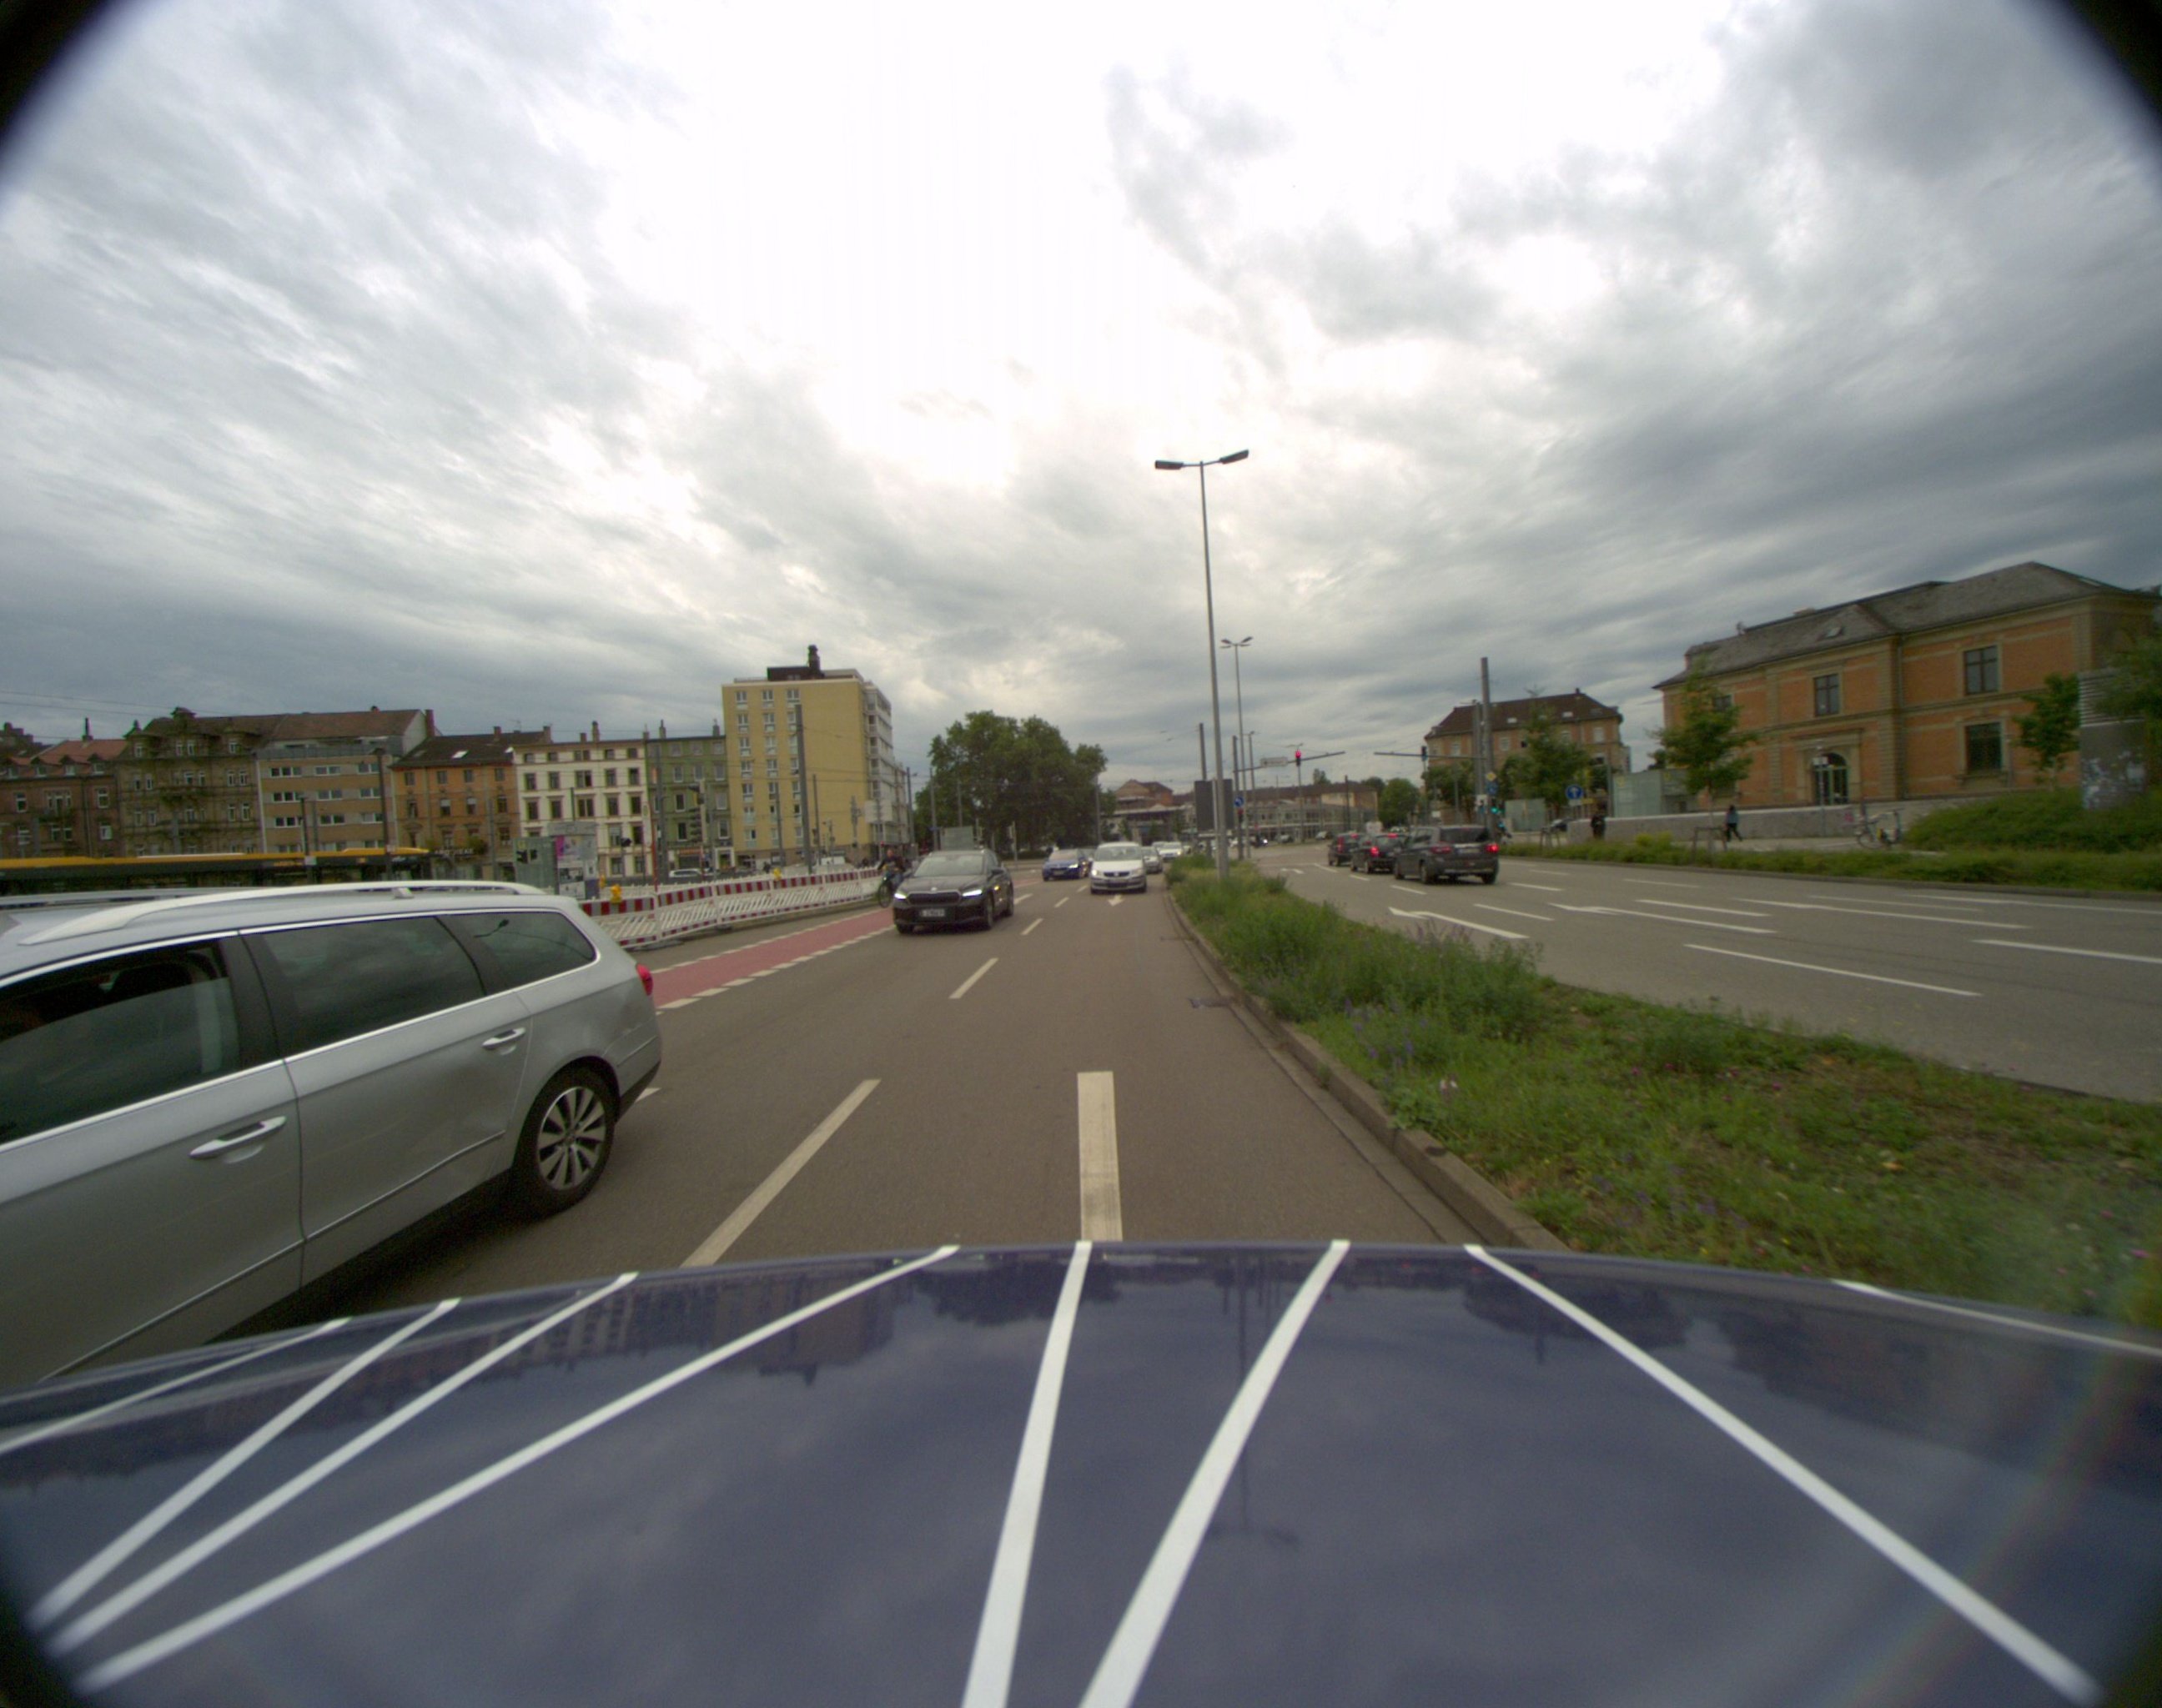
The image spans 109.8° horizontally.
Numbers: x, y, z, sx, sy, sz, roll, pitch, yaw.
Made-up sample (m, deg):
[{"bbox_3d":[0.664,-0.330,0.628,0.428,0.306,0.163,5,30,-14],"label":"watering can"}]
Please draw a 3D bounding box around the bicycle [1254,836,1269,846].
[{"bbox_3d":[21.491,-1.581,90.366,1.614,1.064,0.527,-3,1,-12],"label":"bicycle"}]

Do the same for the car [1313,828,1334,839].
[{"bbox_3d":[44.050,-3.717,137.865,2.368,1.745,5.138,-3,1,31],"label":"car"}]

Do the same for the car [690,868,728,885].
[{"bbox_3d":[-38.850,2.307,79.325,3.728,1.578,1.739,-2,1,32],"label":"car"}]

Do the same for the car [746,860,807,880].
[{"bbox_3d":[-26.925,1.393,67.292,4.443,1.477,1.999,-3,1,-2],"label":"car"}]

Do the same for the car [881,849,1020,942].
[{"bbox_3d":[-2.624,0.764,16.441,1.908,1.649,4.515,-2,1,3],"label":"car"}]

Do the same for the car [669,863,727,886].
[{"bbox_3d":[-34.001,1.819,67.566,3.998,1.740,1.999,-3,1,-2],"label":"car"}]

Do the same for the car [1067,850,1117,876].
[{"bbox_3d":[0.744,0.536,46.228,1.767,1.362,4.427,-2,1,18],"label":"car"}]

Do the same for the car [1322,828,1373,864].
[{"bbox_3d":[12.392,-0.397,35.488,1.621,1.507,3.667,-2,1,10],"label":"car"}]

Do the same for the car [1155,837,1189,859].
[{"bbox_3d":[6.773,-0.477,56.126,1.971,1.447,4.196,-3,1,13],"label":"car"}]

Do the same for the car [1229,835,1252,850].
[{"bbox_3d":[22.245,-1.619,105.663,1.995,2.002,4.006,-3,1,28],"label":"car"}]

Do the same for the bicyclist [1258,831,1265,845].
[{"bbox_3d":[21.452,-1.937,90.334,0.655,1.630,0.517,-3,2,-11],"label":"bicyclist"}]

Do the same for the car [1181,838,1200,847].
[{"bbox_3d":[19.707,-2.099,137.228,1.792,1.552,4.028,-4,1,-16],"label":"car"}]

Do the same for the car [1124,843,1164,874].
[{"bbox_3d":[3.335,0.195,39.798,1.809,1.398,3.984,-3,1,8],"label":"car"}]

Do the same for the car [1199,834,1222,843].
[{"bbox_3d":[23.522,-2.758,137.847,3.899,1.433,1.735,-3,1,18],"label":"car"}]

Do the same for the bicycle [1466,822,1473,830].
[{"bbox_3d":[55.123,-3.988,107.697,0.835,1.024,2.400,-3,1,27],"label":"bicycle"}]

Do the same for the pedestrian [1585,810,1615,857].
[{"bbox_3d":[22.411,-0.880,32.832,0.820,1.969,0.659,-2,1,14],"label":"pedestrian"}]

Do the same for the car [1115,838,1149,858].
[{"bbox_3d":[4.306,-0.532,63.477,1.996,1.499,4.003,-3,1,15],"label":"car"}]

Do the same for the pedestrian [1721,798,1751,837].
[{"bbox_3d":[29.392,-1.633,34.119,0.748,1.724,0.686,-2,1,13],"label":"pedestrian"}]

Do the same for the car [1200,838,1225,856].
[{"bbox_3d":[16.447,-0.867,94.665,1.995,2.002,4.006,-3,1,25],"label":"car"}]

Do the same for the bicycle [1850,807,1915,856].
[{"bbox_3d":[24.862,-0.708,23.623,0.847,1.440,2.258,-2,1,33],"label":"bicycle"}]

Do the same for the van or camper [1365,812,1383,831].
[{"bbox_3d":[40.810,-4.530,105.881,2.281,2.513,5.580,-2,1,21],"label":"van or camper"}]

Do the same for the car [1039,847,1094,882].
[{"bbox_3d":[-0.613,0.453,37.033,1.768,1.428,4.759,-3,1,10],"label":"car"}]

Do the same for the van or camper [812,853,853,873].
[{"bbox_3d":[-26.891,0.950,82.025,2.176,1.967,5.452,-4,1,-41],"label":"van or camper"}]

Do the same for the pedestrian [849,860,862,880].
[{"bbox_3d":[-18.840,1.333,63.416,0.769,1.602,0.949,-4,2,-27],"label":"pedestrian"}]

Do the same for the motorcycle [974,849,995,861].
[{"bbox_3d":[-11.534,0.083,90.955,2.293,1.358,1.045,-3,1,-13],"label":"motorcycle"}]

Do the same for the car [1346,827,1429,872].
[{"bbox_3d":[11.126,-0.180,27.893,1.874,1.499,4.481,-1,1,9],"label":"car"}]

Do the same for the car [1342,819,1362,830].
[{"bbox_3d":[55.849,-6.109,156.746,2.368,2.121,5.138,-2,1,37],"label":"car"}]

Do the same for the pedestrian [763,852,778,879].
[{"bbox_3d":[-22.906,0.835,56.030,0.785,1.901,0.902,-4,2,-27],"label":"pedestrian"}]

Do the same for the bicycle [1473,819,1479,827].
[{"bbox_3d":[55.826,-4.357,107.337,0.753,1.024,2.400,-3,1,27],"label":"bicycle"}]

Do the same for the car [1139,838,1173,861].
[{"bbox_3d":[7.358,-0.471,73.940,1.995,2.002,4.006,-3,1,25],"label":"car"}]

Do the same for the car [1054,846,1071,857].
[{"bbox_3d":[-3.394,-0.413,142.233,1.954,1.459,4.230,-3,6,16],"label":"car"}]

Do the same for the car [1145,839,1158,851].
[{"bbox_3d":[12.847,-1.590,137.771,1.954,1.635,4.673,-3,5,10],"label":"car"}]

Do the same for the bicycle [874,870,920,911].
[{"bbox_3d":[-5.428,1.049,22.573,0.626,1.049,2.126,-3,1,5],"label":"bicycle"}]

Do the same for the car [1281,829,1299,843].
[{"bbox_3d":[34.003,-2.919,123.545,1.995,2.002,4.006,-3,1,28],"label":"car"}]

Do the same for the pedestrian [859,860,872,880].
[{"bbox_3d":[-17.974,1.312,63.450,0.785,1.593,0.895,-4,2,-27],"label":"pedestrian"}]

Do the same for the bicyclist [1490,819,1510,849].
[{"bbox_3d":[23.746,-1.123,43.063,0.813,1.647,0.794,-2,2,17],"label":"bicyclist"}]

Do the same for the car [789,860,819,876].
[{"bbox_3d":[-29.865,1.519,81.826,1.739,1.409,3.729,-5,0,-41],"label":"car"}]

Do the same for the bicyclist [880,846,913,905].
[{"bbox_3d":[-5.446,0.612,22.483,0.617,1.680,0.806,-3,1,5],"label":"bicyclist"}]

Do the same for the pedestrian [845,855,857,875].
[{"bbox_3d":[-20.530,0.954,67.929,0.789,1.747,1.047,-3,1,-26],"label":"pedestrian"}]

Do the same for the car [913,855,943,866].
[{"bbox_3d":[-21.421,0.847,106.221,4.001,1.327,1.834,-3,1,-13],"label":"car"}]

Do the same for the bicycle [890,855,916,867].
[{"bbox_3d":[-21.293,0.842,90.918,2.782,1.369,0.903,-3,1,-3],"label":"bicycle"}]

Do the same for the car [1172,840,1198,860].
[{"bbox_3d":[11.326,-0.447,82.469,1.996,2.002,4.004,-3,1,19],"label":"car"}]

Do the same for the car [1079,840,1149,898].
[{"bbox_3d":[1.186,0.396,24.745,1.862,1.609,5.063,-2,1,7],"label":"car"}]

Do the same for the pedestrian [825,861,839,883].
[{"bbox_3d":[-18.946,1.367,57.838,0.785,1.634,0.902,-4,2,-27],"label":"pedestrian"}]

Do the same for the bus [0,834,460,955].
[{"bbox_3d":[-30.301,1.194,26.362,3.018,3.249,13.065,-2,1,40],"label":"bus"}]

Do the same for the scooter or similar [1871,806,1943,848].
[{"bbox_3d":[27.510,-0.893,25.323,1.775,1.295,0.630,-3,1,-4],"label":"scooter or similar"}]

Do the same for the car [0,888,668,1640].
[{"bbox_3d":[-3.219,0.987,1.936,1.725,1.474,4.627,-2,1,0],"label":"car"}]

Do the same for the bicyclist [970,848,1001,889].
[{"bbox_3d":[-3.987,0.610,31.765,0.789,1.609,0.934,-4,1,23],"label":"bicyclist"}]

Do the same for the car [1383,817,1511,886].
[{"bbox_3d":[10.341,-0.108,21.893,1.874,1.715,4.714,-2,1,7],"label":"car"}]

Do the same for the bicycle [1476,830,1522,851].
[{"bbox_3d":[23.694,-0.771,43.110,2.116,1.022,0.796,-4,0,18],"label":"bicycle"}]

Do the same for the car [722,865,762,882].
[{"bbox_3d":[-35.589,2.082,79.778,3.728,1.573,1.895,-3,1,32],"label":"car"}]
